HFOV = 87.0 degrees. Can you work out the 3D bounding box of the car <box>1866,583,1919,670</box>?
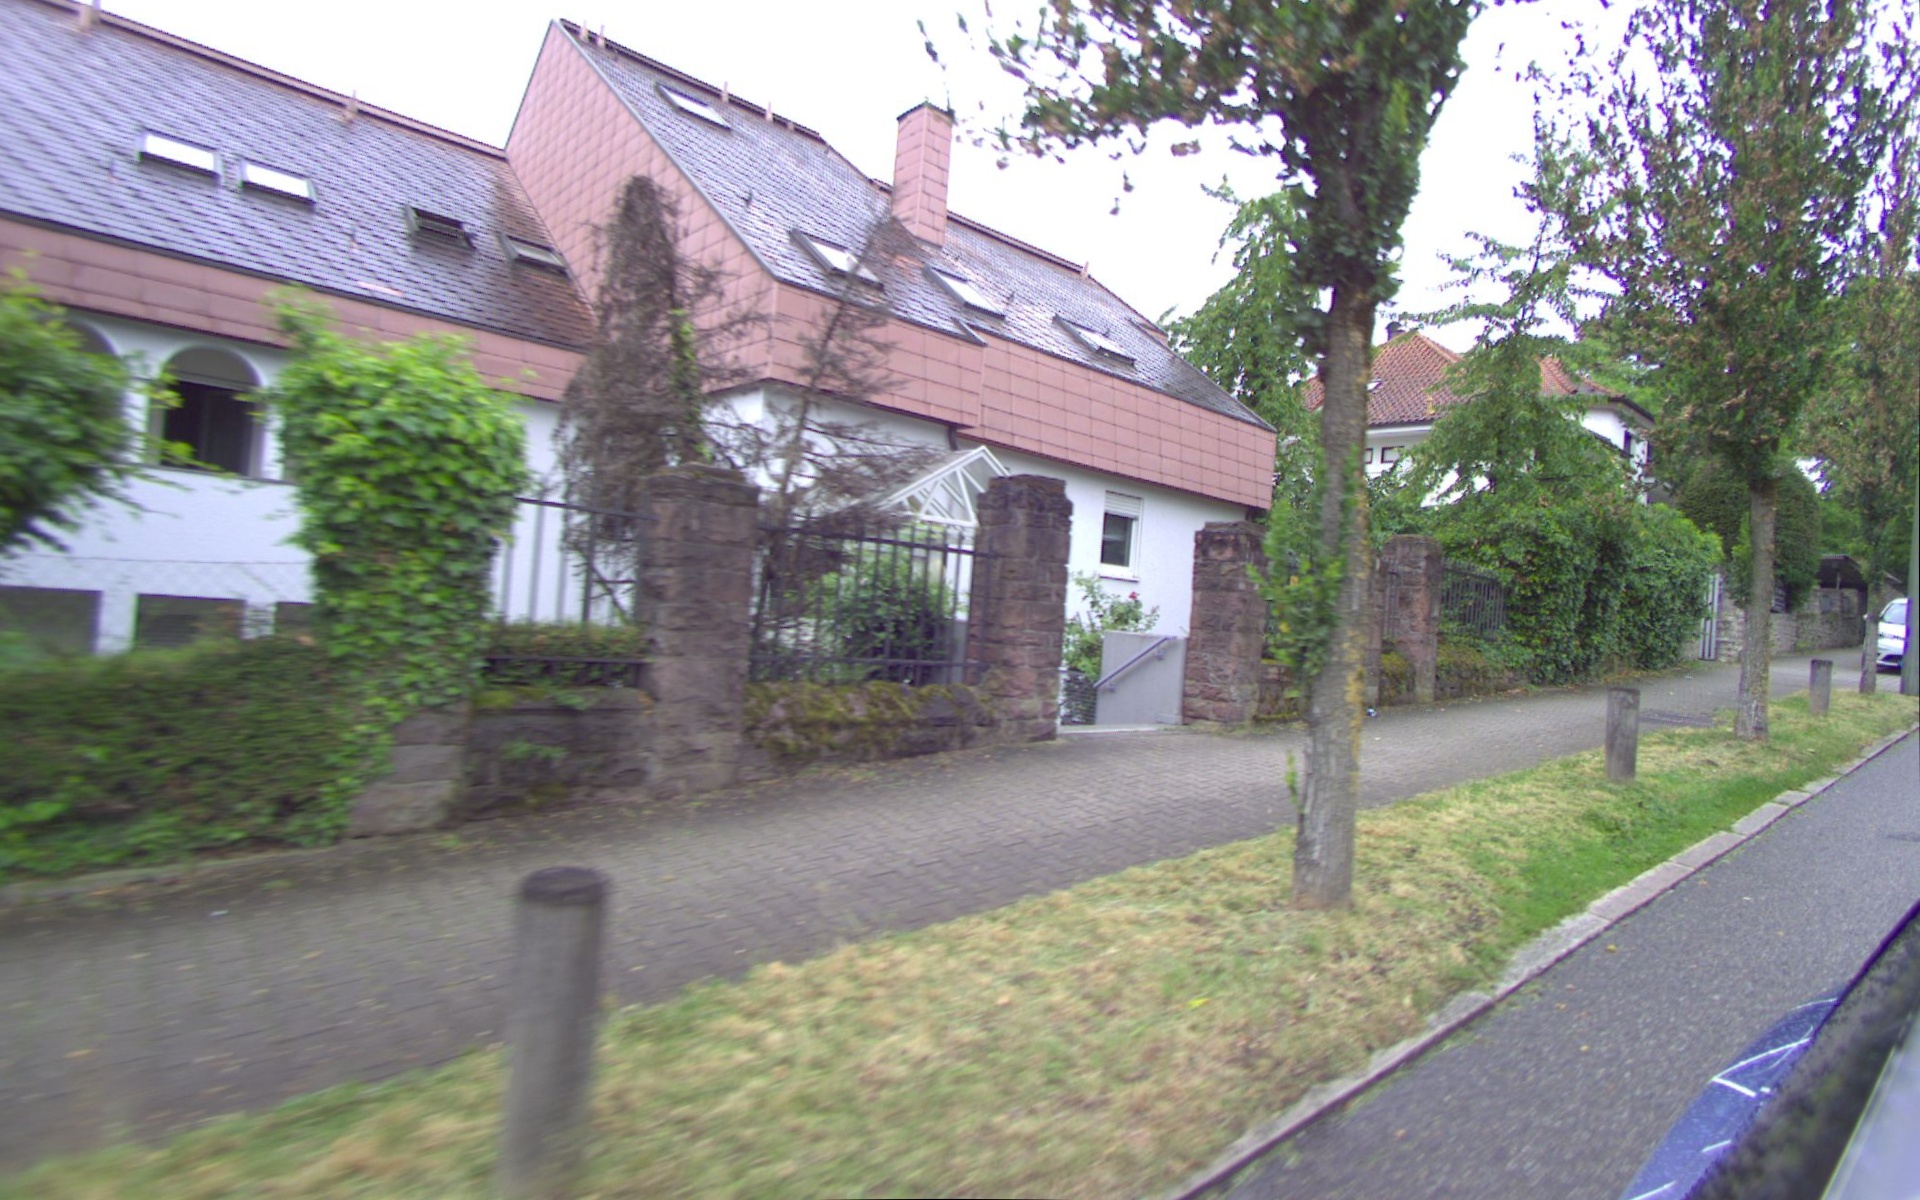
[{"bbox_3d":[20.369,0.569,21.015,3.932,1.649,1.828,1,4,-43],"label":"car"}]
